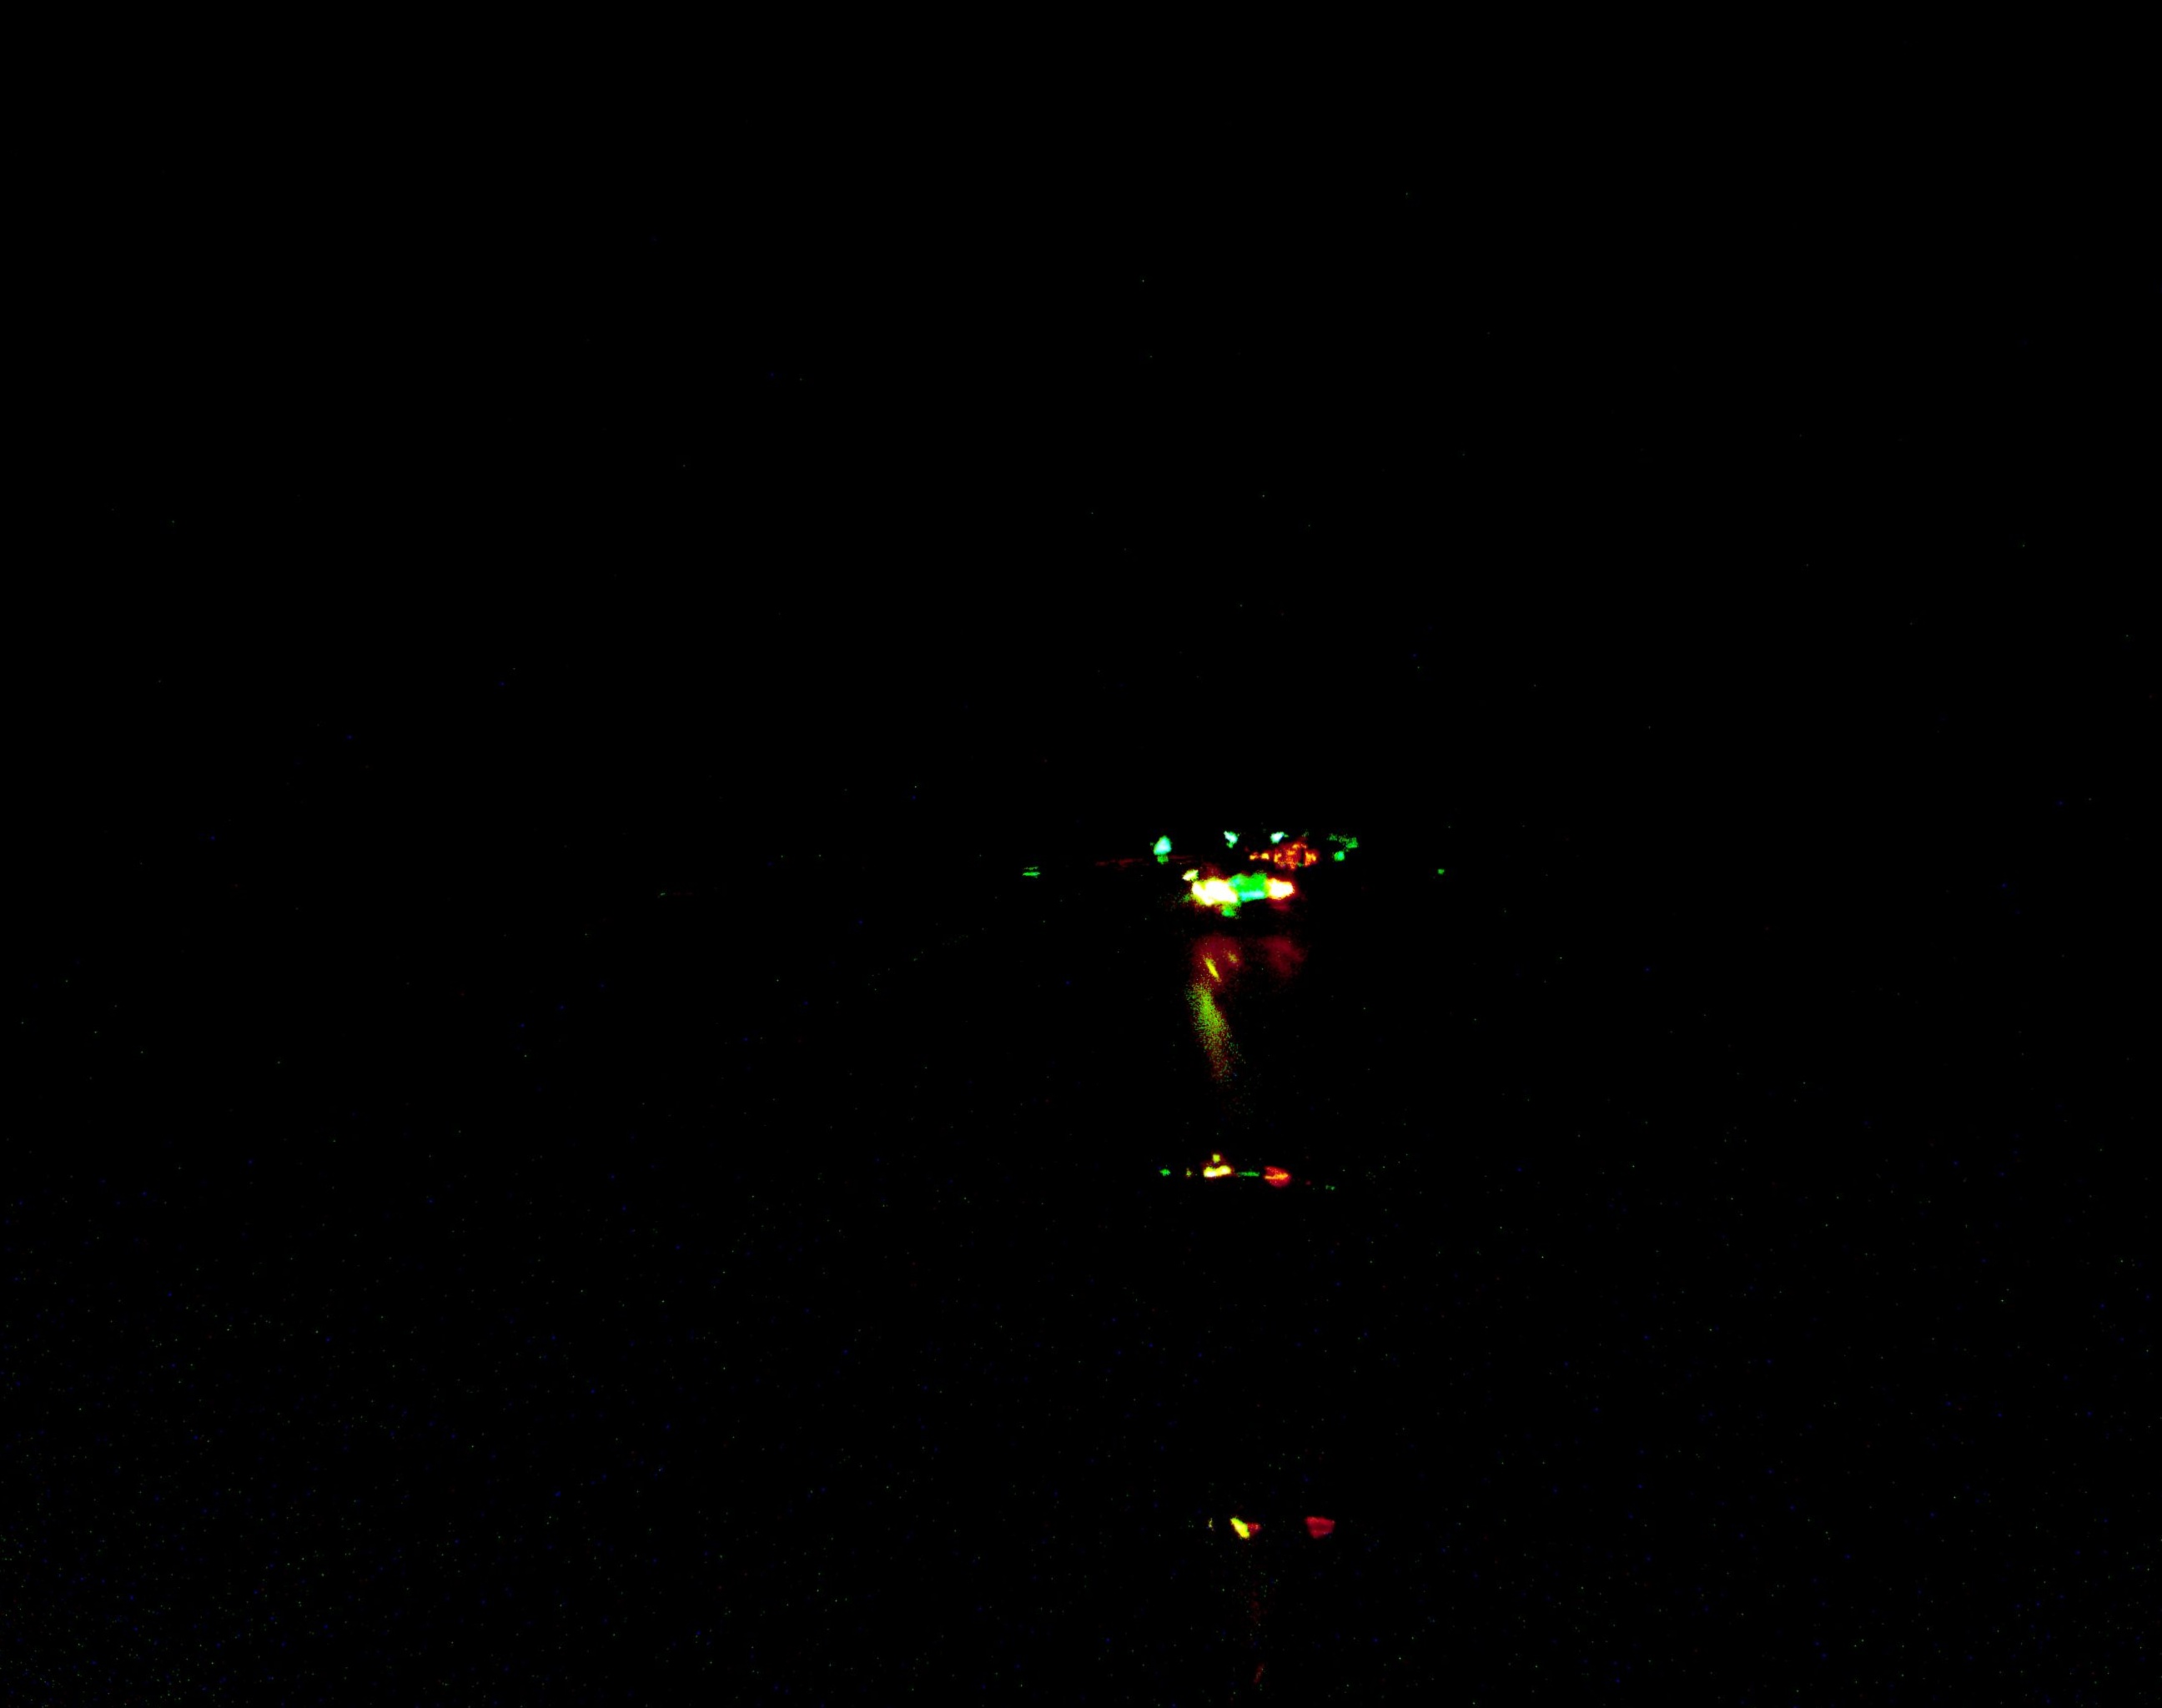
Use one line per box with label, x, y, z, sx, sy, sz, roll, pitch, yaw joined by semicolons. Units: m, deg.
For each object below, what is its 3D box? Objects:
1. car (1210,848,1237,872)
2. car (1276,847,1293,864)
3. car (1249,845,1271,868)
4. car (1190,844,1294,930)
car;10.987;0.482;62.769;1.883;1.720;4.056;-1;-1;10
car;24.570;0.202;98.172;1.881;1.998;4.061;-2;-1;15
car;17.074;0.256;77.589;1.882;2.040;4.060;-1;-1;13
car;3.331;0.625;17.547;1.851;1.647;4.076;0;0;6
